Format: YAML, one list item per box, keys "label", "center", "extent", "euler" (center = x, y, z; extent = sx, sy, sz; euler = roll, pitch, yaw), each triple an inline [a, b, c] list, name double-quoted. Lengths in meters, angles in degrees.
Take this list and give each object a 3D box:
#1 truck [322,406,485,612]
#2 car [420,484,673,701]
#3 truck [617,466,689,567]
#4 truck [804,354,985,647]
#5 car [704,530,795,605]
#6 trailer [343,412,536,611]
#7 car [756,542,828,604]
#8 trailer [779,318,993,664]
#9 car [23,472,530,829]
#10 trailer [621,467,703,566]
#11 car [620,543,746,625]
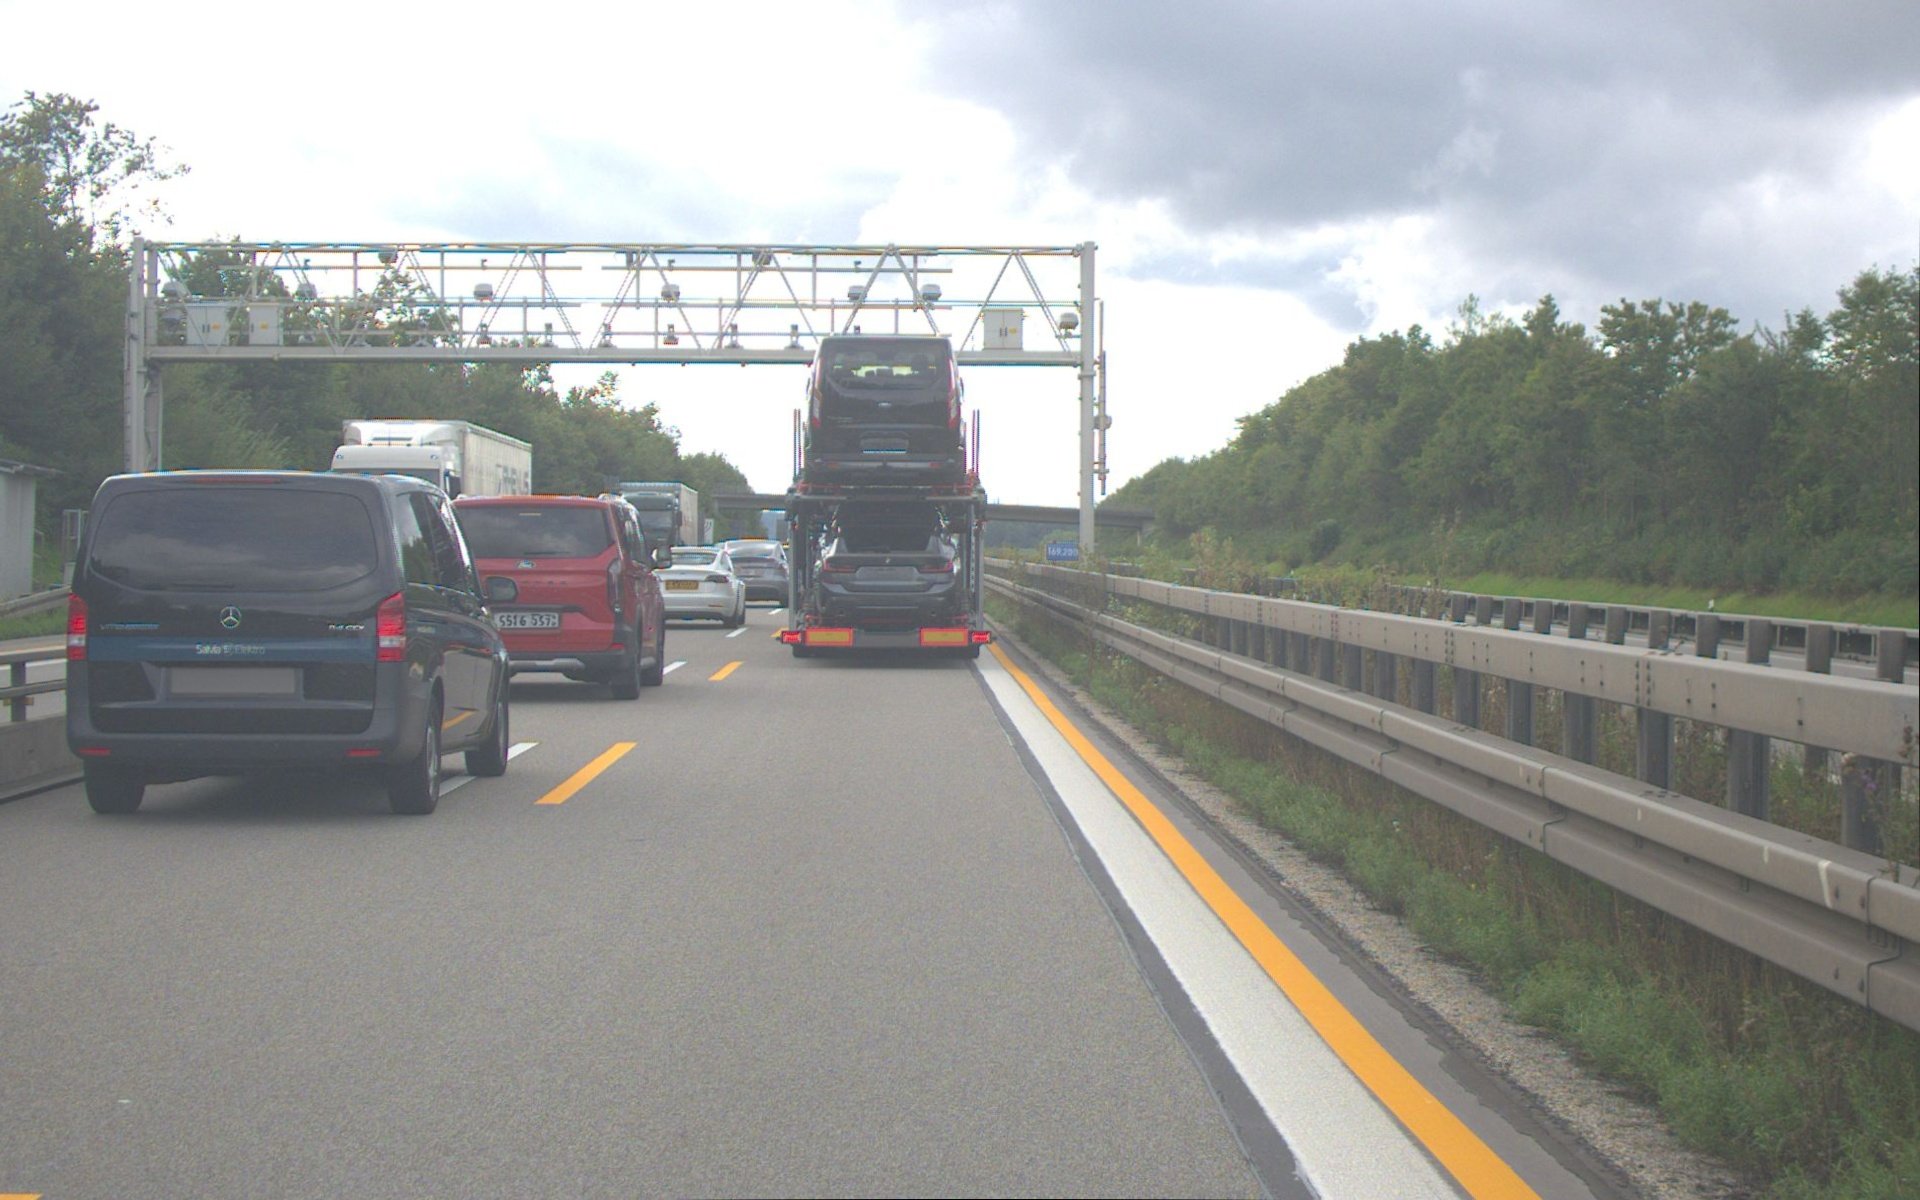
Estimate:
- label: "truck"
  center: [-11.679, -1.917, 72.585]
  extent: [2.598, 4.140, 5.621]
  euler: [1, 1, -1]
- label: "car"
  center: [-4.018, -0.101, 34.083]
  extent: [2.031, 2.007, 4.578]
  euler: [0, 1, -1]
- label: "truck"
  center: [-12.883, -3.516, 144.537]
  extent: [2.598, 4.140, 5.621]
  euler: [1, 1, -1]
- label: "truck"
  center: [-0.942, -1.437, 51.210]
  extent: [2.515, 4.091, 5.685]
  euler: [1, 1, 0]
- label: "car"
  center: [-4.997, -0.788, 82.176]
  extent: [2.031, 1.751, 4.578]
  euler: [0, 1, -2]
- label: "trailer"
  center: [-11.850, -2.029, 79.542]
  extent: [2.598, 4.140, 13.993]
  euler: [1, 1, -1]
- label: "car"
  center: [-4.897, -0.806, 100.499]
  extent: [2.031, 1.751, 4.578]
  euler: [0, 1, -2]
- label: "trailer"
  center: [-0.917, -1.372, 46.457]
  extent: [2.515, 4.091, 11.114]
  euler: [1, 1, 0]
- label: "car"
  center: [-3.868, 0.222, 20.505]
  extent: [1.993, 1.837, 5.610]
  euler: [0, 1, -1]
- label: "trailer"
  center: [-13.035, -3.674, 151.314]
  extent: [2.598, 4.140, 13.993]
  euler: [1, 1, -1]
- label: "car"
  center: [-4.971, -0.319, 62.206]
  extent: [2.031, 1.426, 4.578]
  euler: [0, 1, -2]
